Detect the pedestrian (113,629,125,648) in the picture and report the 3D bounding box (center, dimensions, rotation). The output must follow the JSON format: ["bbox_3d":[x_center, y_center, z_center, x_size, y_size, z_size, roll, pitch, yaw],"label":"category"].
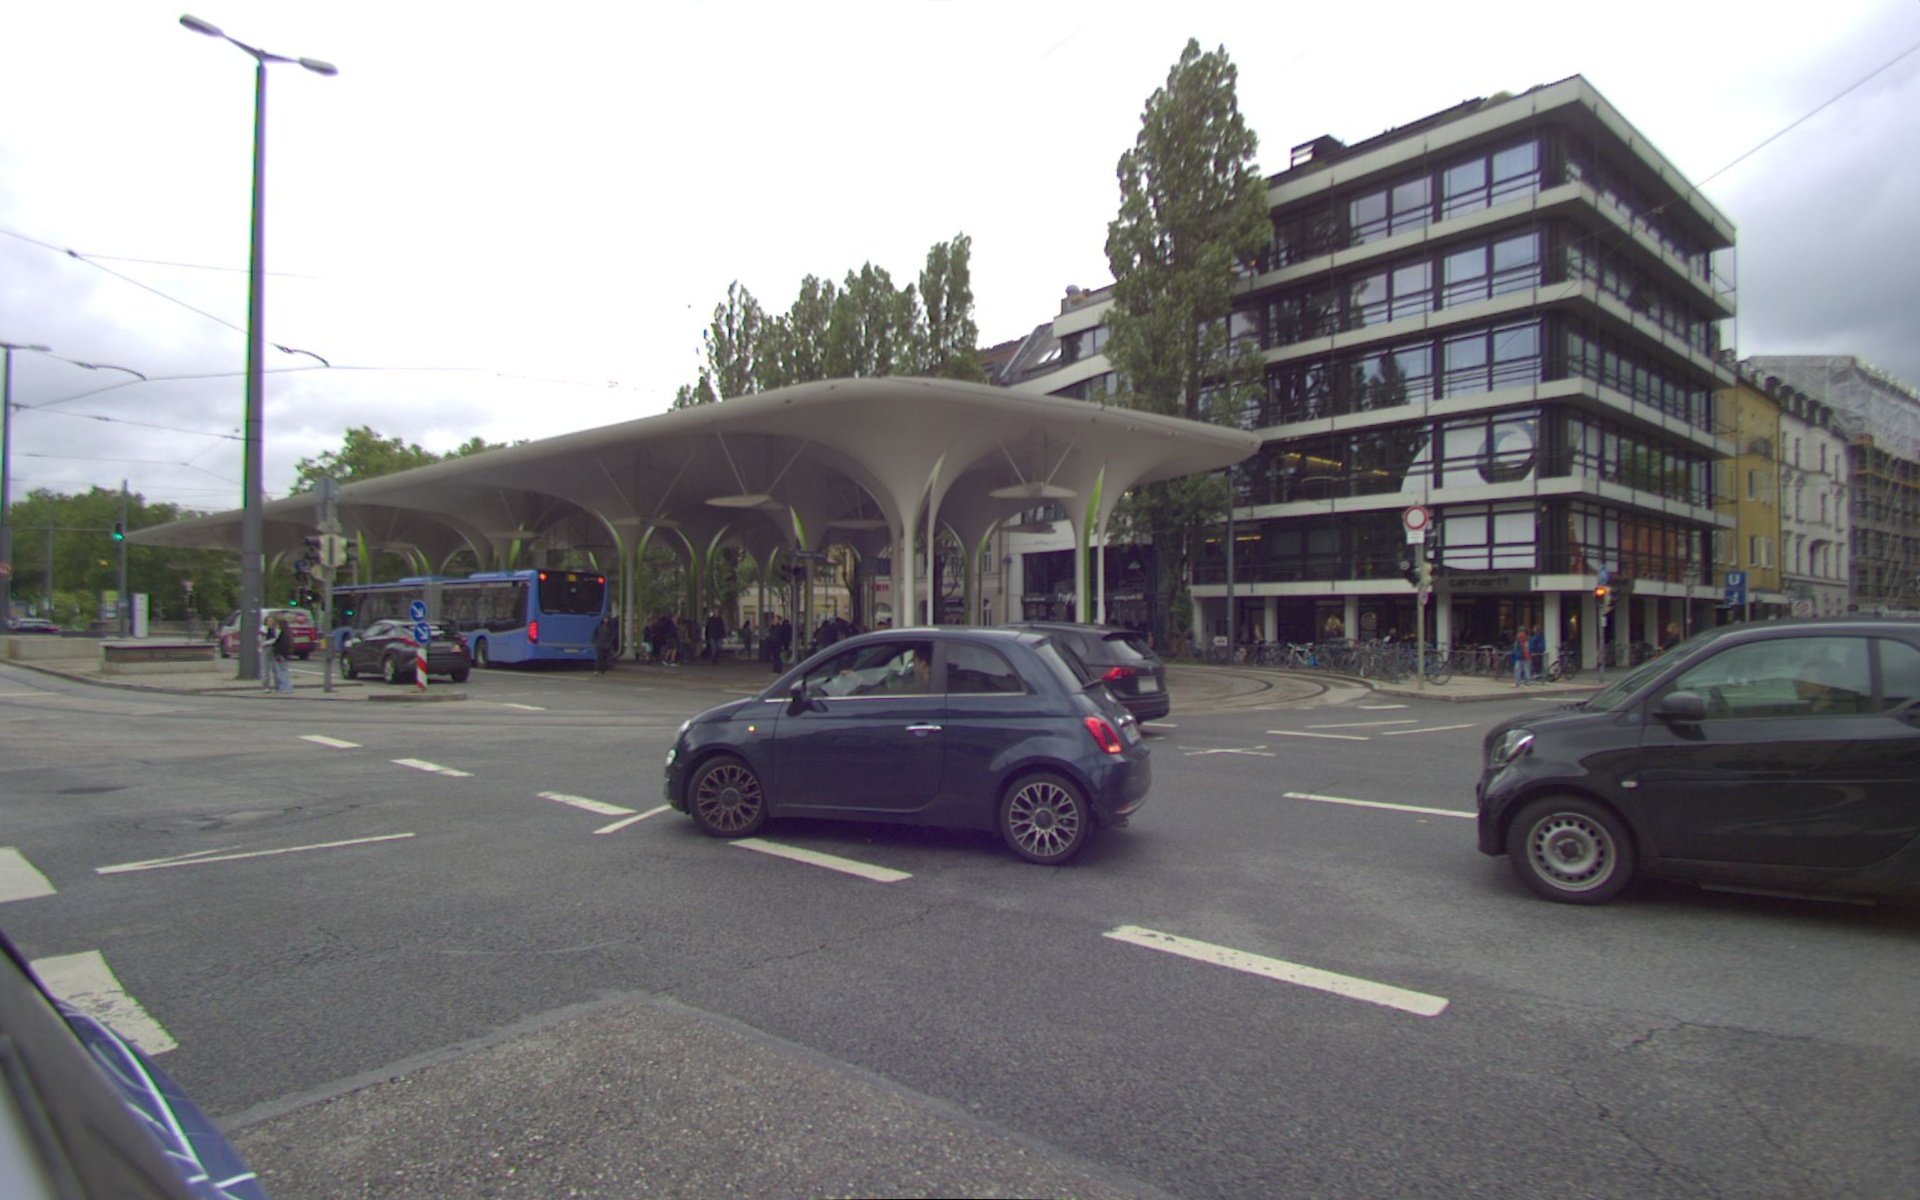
[{"bbox_3d":[-70.695,3.215,85.066,0.588,1.570,0.624,-2,-3,40],"label":"pedestrian"}]

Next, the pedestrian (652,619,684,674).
[{"bbox_3d":[-9.134,1.438,31.675,0.742,1.687,0.628,-1,-2,16],"label":"pedestrian"}]

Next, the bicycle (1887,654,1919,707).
[{"bbox_3d":[19.274,1.594,19.557,1.986,1.005,0.521,1,-1,42],"label":"bicycle"}]

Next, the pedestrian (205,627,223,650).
[{"bbox_3d":[-52.828,2.707,71.643,0.737,1.641,0.734,-1,-2,20],"label":"pedestrian"}]

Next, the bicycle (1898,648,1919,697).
[{"bbox_3d":[20.821,1.550,20.985,1.986,1.005,0.521,1,-1,42],"label":"bicycle"}]

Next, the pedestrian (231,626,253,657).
[{"bbox_3d":[-42.935,2.455,60.543,0.802,1.853,0.664,0,-2,10],"label":"pedestrian"}]

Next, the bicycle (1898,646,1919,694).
[{"bbox_3d":[21.351,1.535,21.552,1.986,1.005,0.521,1,-1,42],"label":"bicycle"}]

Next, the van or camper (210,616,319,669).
[{"bbox_3d":[-26.226,1.591,38.068,5.435,1.840,1.909,-2,-4,39],"label":"van or camper"}]

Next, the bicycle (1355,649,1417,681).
[{"bbox_3d":[13.227,2.026,31.414,1.707,0.946,0.455,1,-1,1],"label":"bicycle"}]

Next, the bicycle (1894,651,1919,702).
[{"bbox_3d":[20.086,1.570,20.277,1.986,1.005,0.521,1,-1,42],"label":"bicycle"}]

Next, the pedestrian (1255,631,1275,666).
[{"bbox_3d":[14.042,2.214,46.592,0.585,1.604,0.675,1,-2,-39],"label":"pedestrian"}]

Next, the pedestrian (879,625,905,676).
[{"bbox_3d":[-2.195,1.610,32.721,0.589,1.623,0.624,2,-3,-45],"label":"pedestrian"}]

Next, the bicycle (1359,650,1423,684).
[{"bbox_3d":[12.884,1.994,30.298,1.718,0.946,0.452,1,-1,20],"label":"bicycle"}]

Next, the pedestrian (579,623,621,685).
[{"bbox_3d":[-10.015,1.498,28.172,0.829,1.694,0.974,0,-2,-2],"label":"pedestrian"}]

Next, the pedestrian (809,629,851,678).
[{"bbox_3d":[-3.997,1.630,31.169,1.008,1.464,0.856,1,-2,-33],"label":"pedestrian"}]

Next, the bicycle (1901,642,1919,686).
[{"bbox_3d":[22.794,1.497,23.045,1.986,1.005,0.521,1,-1,42],"label":"bicycle"}]

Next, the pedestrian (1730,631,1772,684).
[{"bbox_3d":[25.378,1.840,32.455,0.789,1.666,0.854,1,-2,-37],"label":"pedestrian"}]

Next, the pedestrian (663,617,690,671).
[{"bbox_3d":[-9.156,1.420,32.681,0.692,1.724,0.759,1,-2,-25],"label":"pedestrian"}]

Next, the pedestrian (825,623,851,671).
[{"bbox_3d":[-4.128,1.581,34.144,0.860,1.595,0.551,0,-2,-7],"label":"pedestrian"}]

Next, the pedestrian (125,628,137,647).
[{"bbox_3d":[-70.216,3.201,85.699,0.588,1.570,0.624,-2,-3,40],"label":"pedestrian"}]

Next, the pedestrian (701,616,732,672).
[{"bbox_3d":[-8.016,1.447,33.305,0.793,1.831,0.707,1,-2,-34],"label":"pedestrian"}]

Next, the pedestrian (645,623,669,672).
[{"bbox_3d":[-9.924,1.539,33.138,0.533,1.584,0.556,-2,-3,41],"label":"pedestrian"}]

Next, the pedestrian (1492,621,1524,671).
[{"bbox_3d":[22.594,1.900,41.719,0.823,2.029,0.918,2,-3,-45],"label":"pedestrian"}]

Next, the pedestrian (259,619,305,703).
[{"bbox_3d":[-13.378,1.189,19.986,0.551,1.631,0.486,0,-2,7],"label":"pedestrian"}]

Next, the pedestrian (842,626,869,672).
[{"bbox_3d":[-3.334,1.561,32.325,0.860,1.469,0.551,0,-2,-7],"label":"pedestrian"}]

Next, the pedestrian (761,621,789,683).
[{"bbox_3d":[-5.238,1.457,28.624,0.540,1.733,0.616,1,-2,-41],"label":"pedestrian"}]

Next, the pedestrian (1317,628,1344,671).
[{"bbox_3d":[15.695,2.087,42.913,0.710,1.814,0.829,1,-2,-39],"label":"pedestrian"}]

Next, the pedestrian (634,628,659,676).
[{"bbox_3d":[-10.030,1.662,32.360,0.471,1.516,0.606,-2,-2,39],"label":"pedestrian"}]

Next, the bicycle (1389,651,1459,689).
[{"bbox_3d":[12.683,1.909,27.705,1.719,0.946,0.452,0,-1,21],"label":"bicycle"}]

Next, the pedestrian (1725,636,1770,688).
[{"bbox_3d":[24.794,1.937,31.868,0.730,1.600,0.951,1,-2,-37],"label":"pedestrian"}]

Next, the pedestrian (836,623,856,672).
[{"bbox_3d":[-3.775,1.572,33.547,0.655,1.595,0.499,0,-2,-7],"label":"pedestrian"}]

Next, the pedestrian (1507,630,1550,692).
[{"bbox_3d":[15.601,1.660,27.761,0.845,1.654,0.790,2,-3,-44],"label":"pedestrian"}]

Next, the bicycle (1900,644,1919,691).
[{"bbox_3d":[21.955,1.519,22.166,1.986,1.005,0.521,1,-1,42],"label":"bicycle"}]

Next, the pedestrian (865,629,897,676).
[{"bbox_3d":[-2.638,1.736,33.727,0.798,1.542,0.724,-2,-2,44],"label":"pedestrian"}]

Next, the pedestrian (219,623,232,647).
[{"bbox_3d":[-54.302,2.602,74.837,0.725,1.729,0.862,1,-2,-38],"label":"pedestrian"}]

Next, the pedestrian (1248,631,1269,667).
[{"bbox_3d":[13.502,2.228,45.817,0.585,1.604,0.675,1,-2,-39],"label":"pedestrian"}]

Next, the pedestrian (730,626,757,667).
[{"bbox_3d":[-8.845,1.888,41.344,0.801,1.623,0.791,1,-2,-42],"label":"pedestrian"}]

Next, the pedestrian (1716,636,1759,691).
[{"bbox_3d":[24.155,1.952,31.432,0.777,1.654,0.860,1,-2,-37],"label":"pedestrian"}]

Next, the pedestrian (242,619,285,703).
[{"bbox_3d":[-13.783,1.200,20.023,0.514,1.631,0.464,0,-2,-5],"label":"pedestrian"}]

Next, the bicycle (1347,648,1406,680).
[{"bbox_3d":[13.185,2.027,32.068,1.704,0.946,0.456,1,-1,-7],"label":"bicycle"}]

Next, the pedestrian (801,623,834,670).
[{"bbox_3d":[-5.659,1.832,40.063,0.994,1.835,0.841,1,-2,-45],"label":"pedestrian"}]
